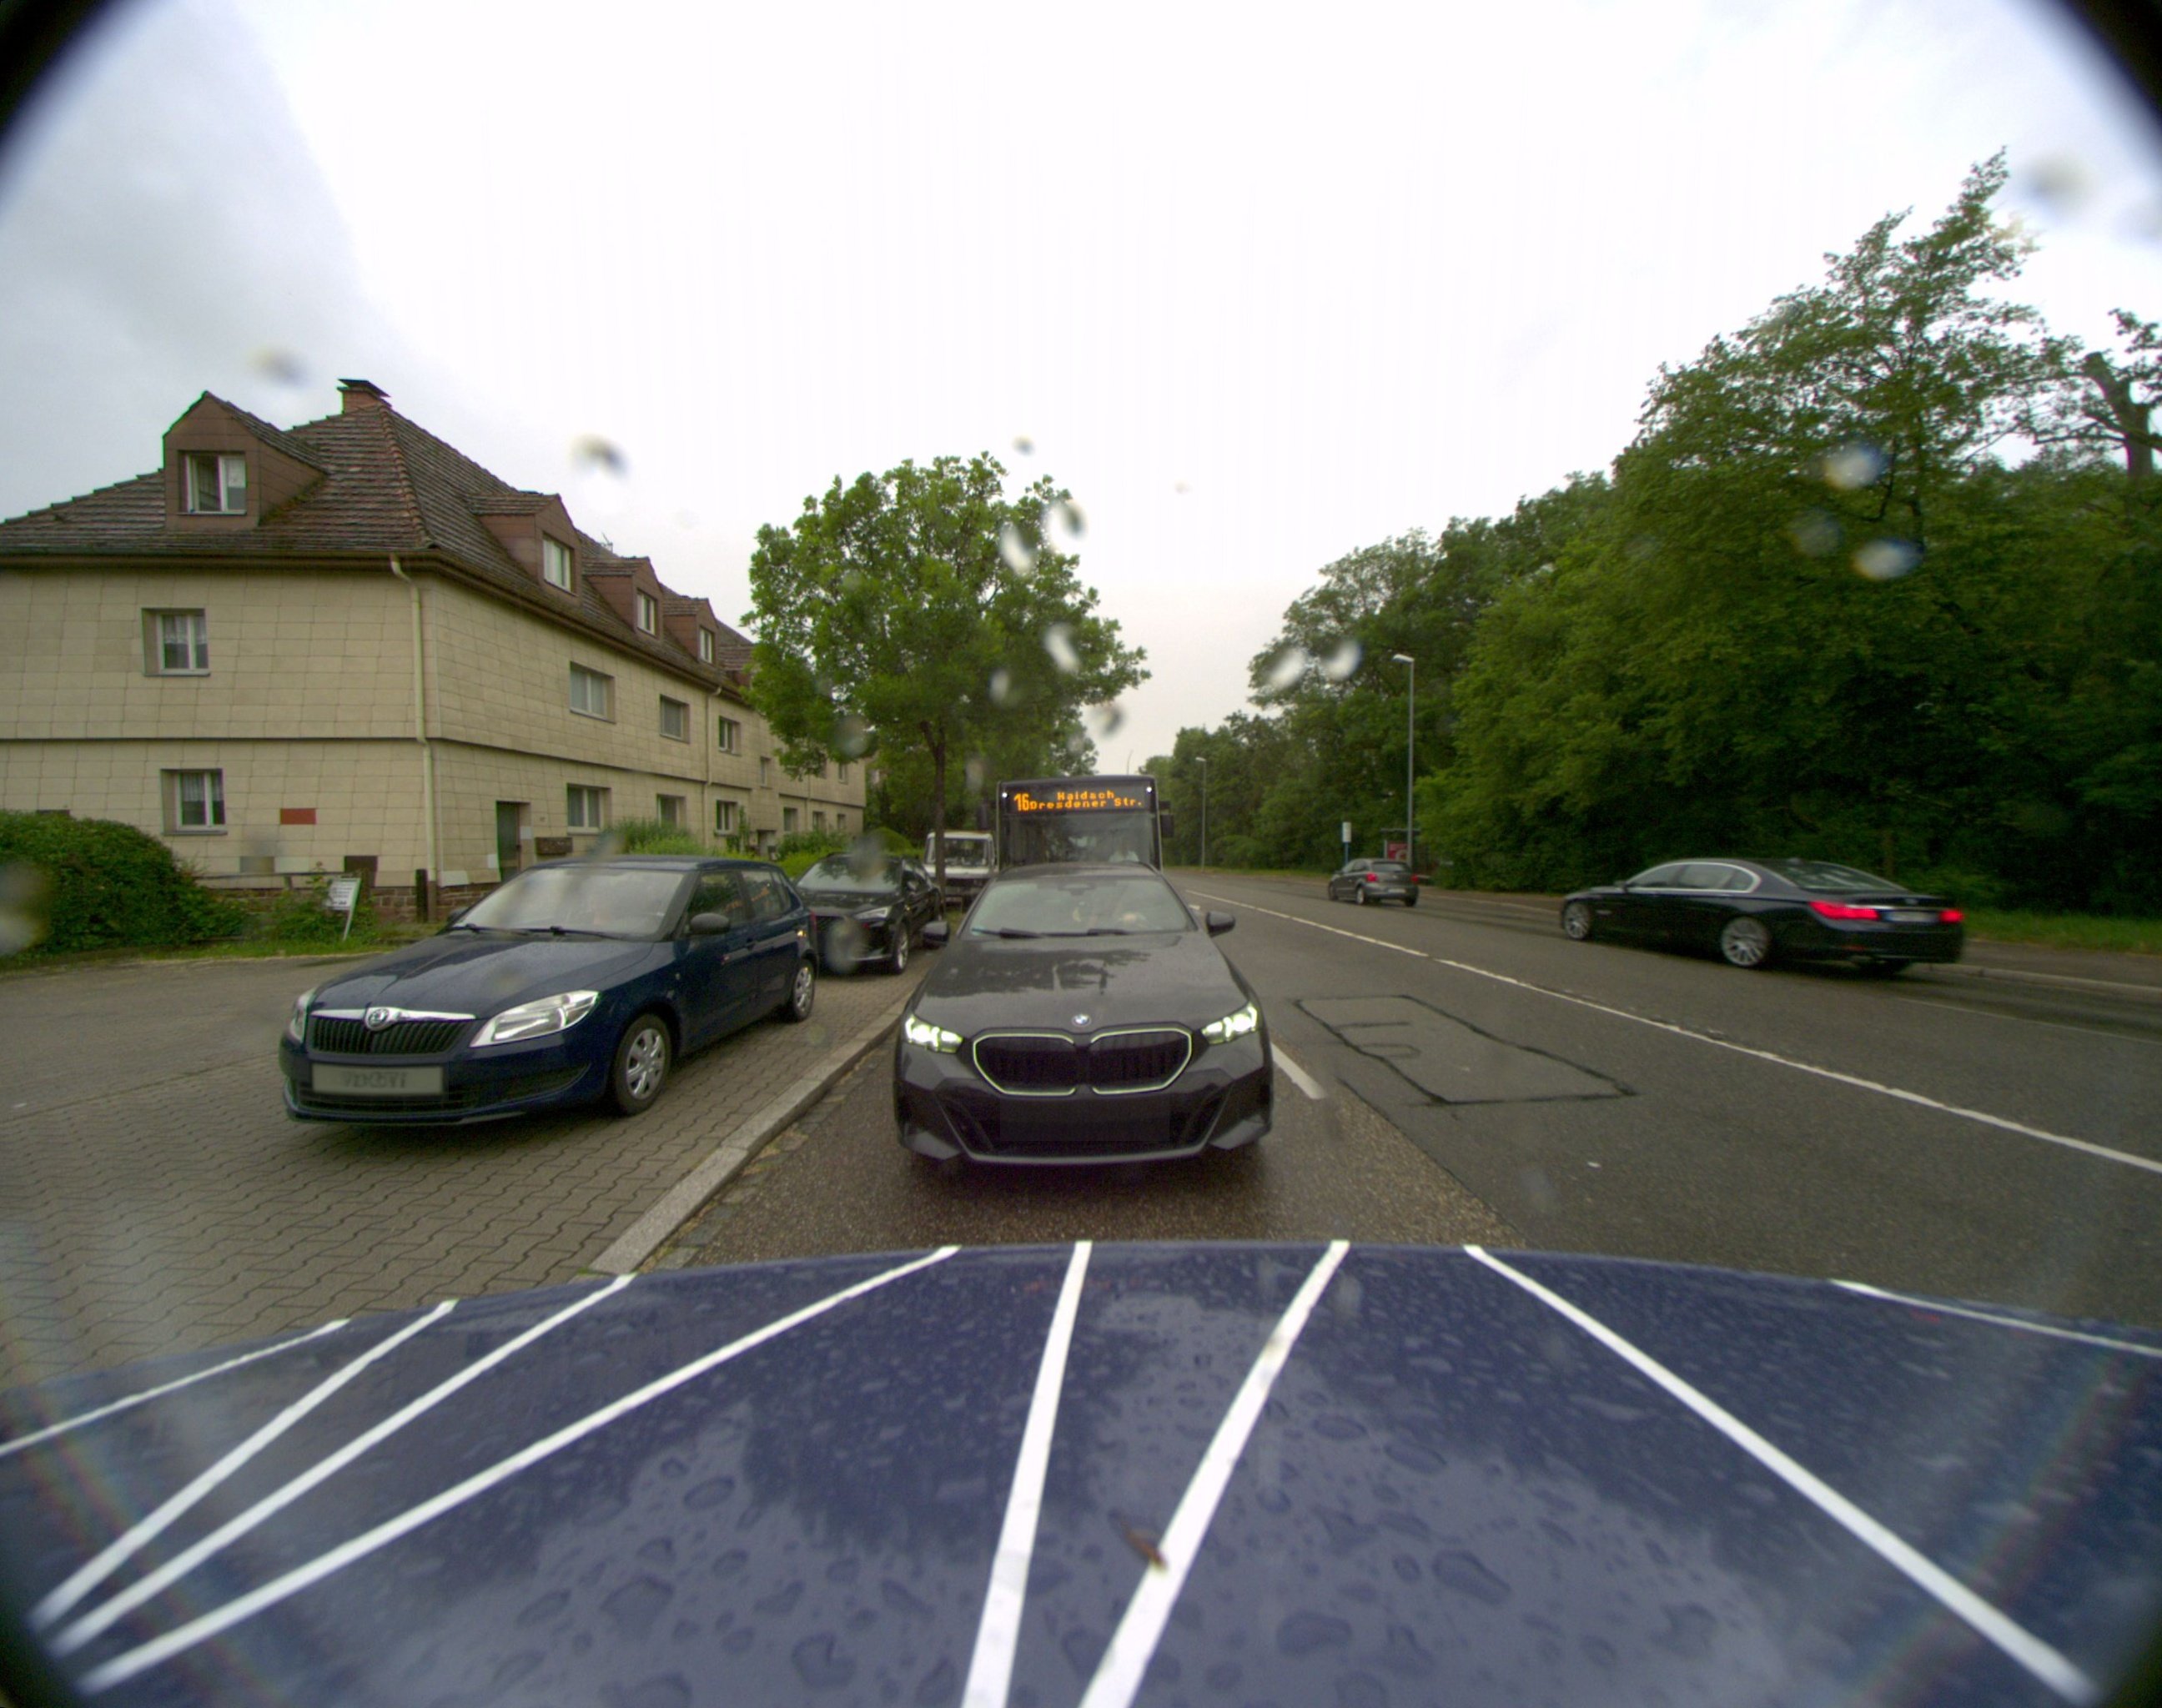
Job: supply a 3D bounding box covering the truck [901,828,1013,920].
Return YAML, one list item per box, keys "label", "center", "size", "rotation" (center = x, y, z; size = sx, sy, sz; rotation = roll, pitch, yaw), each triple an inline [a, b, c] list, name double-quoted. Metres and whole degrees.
- label: "truck"
  center: [-3.206, 0.474, 20.916]
  size: [1.998, 2.184, 5.756]
  rotation: [0, 0, 2]

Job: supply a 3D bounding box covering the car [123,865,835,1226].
- label: "car"
  center: [-3.256, 0.861, 5.280]
  size: [1.720, 1.416, 3.999]
  rotation: [1, 1, 1]

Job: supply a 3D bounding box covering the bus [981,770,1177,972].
- label: "bus"
  center: [0.103, 0.203, 15.837]
  size: [2.767, 2.858, 9.403]
  rotation: [-2, 1, 2]

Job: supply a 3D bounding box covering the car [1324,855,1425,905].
- label: "car"
  center: [9.152, 0.775, 24.050]
  size: [1.598, 1.420, 3.905]
  rotation: [1, 0, -1]

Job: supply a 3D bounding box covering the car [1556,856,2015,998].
- label: "car"
  center: [9.452, 0.827, 10.993]
  size: [1.915, 1.445, 4.947]
  rotation: [3, 1, -1]

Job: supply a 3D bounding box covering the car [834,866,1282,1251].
- label: "car"
  center: [-0.074, 0.931, 5.483]
  size: [1.882, 1.520, 4.316]
  rotation: [-3, 0, 1]

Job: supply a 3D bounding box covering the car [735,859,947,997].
- label: "car"
  center: [-3.065, 0.853, 10.598]
  size: [1.720, 1.455, 3.999]
  rotation: [1, 1, -1]
